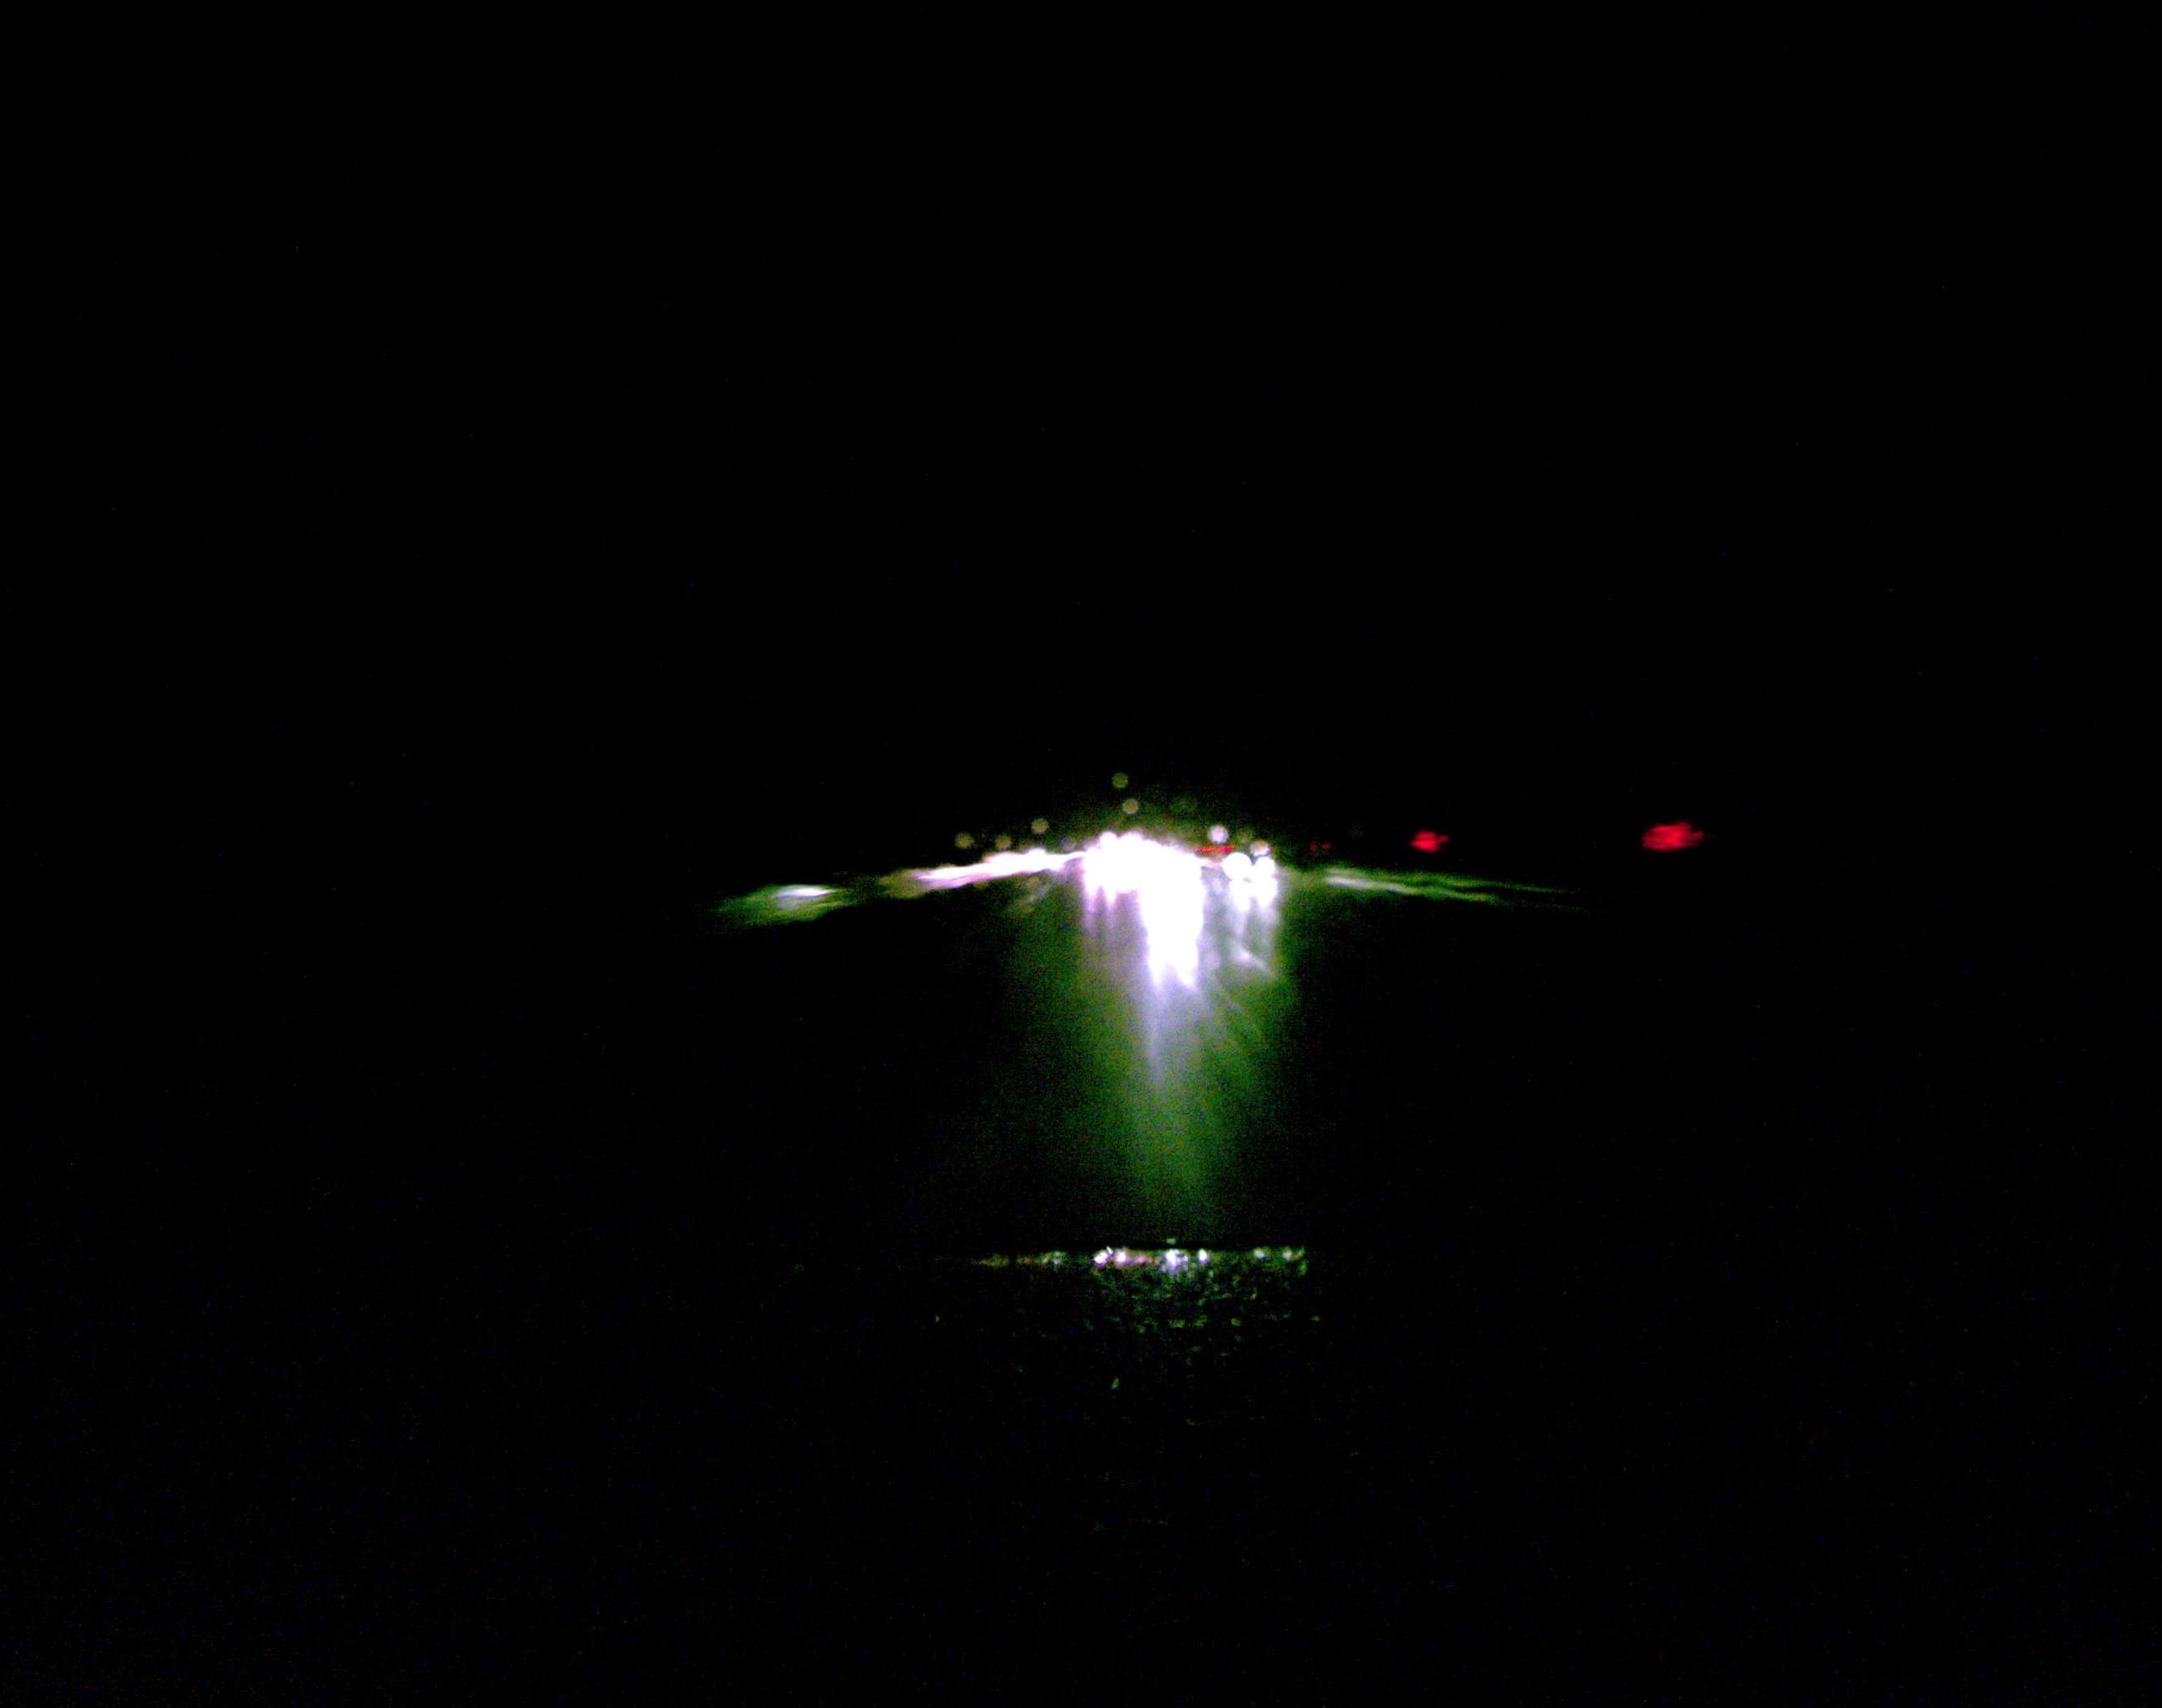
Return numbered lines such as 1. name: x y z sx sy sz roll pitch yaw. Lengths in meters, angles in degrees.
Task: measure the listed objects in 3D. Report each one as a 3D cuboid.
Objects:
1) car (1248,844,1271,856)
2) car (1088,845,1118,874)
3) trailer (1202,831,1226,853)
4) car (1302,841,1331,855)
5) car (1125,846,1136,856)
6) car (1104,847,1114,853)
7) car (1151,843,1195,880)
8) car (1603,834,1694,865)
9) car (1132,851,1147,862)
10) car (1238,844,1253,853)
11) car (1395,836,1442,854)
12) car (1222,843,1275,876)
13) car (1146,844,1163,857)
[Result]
1. car: 22.641 -0.526 96.588 1.977 1.456 3.999 -2 1 0
2. car: 1.651 0.381 56.527 1.998 2.002 4.000 -2 1 4
3. trailer: 34.180 -3.099 196.220 4.350 5.111 8.996 -6 1 1
4. car: 26.695 -0.713 86.245 1.965 1.456 3.999 -4 1 0
5. car: 9.810 -0.598 150.533 1.998 1.745 4.000 -3 1 3
6. car: 5.978 -0.943 162.706 1.998 1.149 4.001 -2 1 5
7. car: 4.520 0.338 37.545 1.997 1.667 4.001 -2 1 6
8. car: 28.353 -0.249 38.105 1.712 1.456 4.000 -2 1 3
9. car: 6.928 0.242 90.459 1.692 1.149 3.421 -2 1 5
10. car: 28.476 -0.917 131.580 1.884 1.456 4.298 -4 1 3
11. car: 29.654 -0.795 66.885 1.791 1.456 5.038 -4 1 0
12. car: 8.906 0.275 40.776 2.309 1.600 3.872 -2 1 6
13. car: 10.578 -0.478 110.120 1.998 1.745 3.999 -3 1 1
